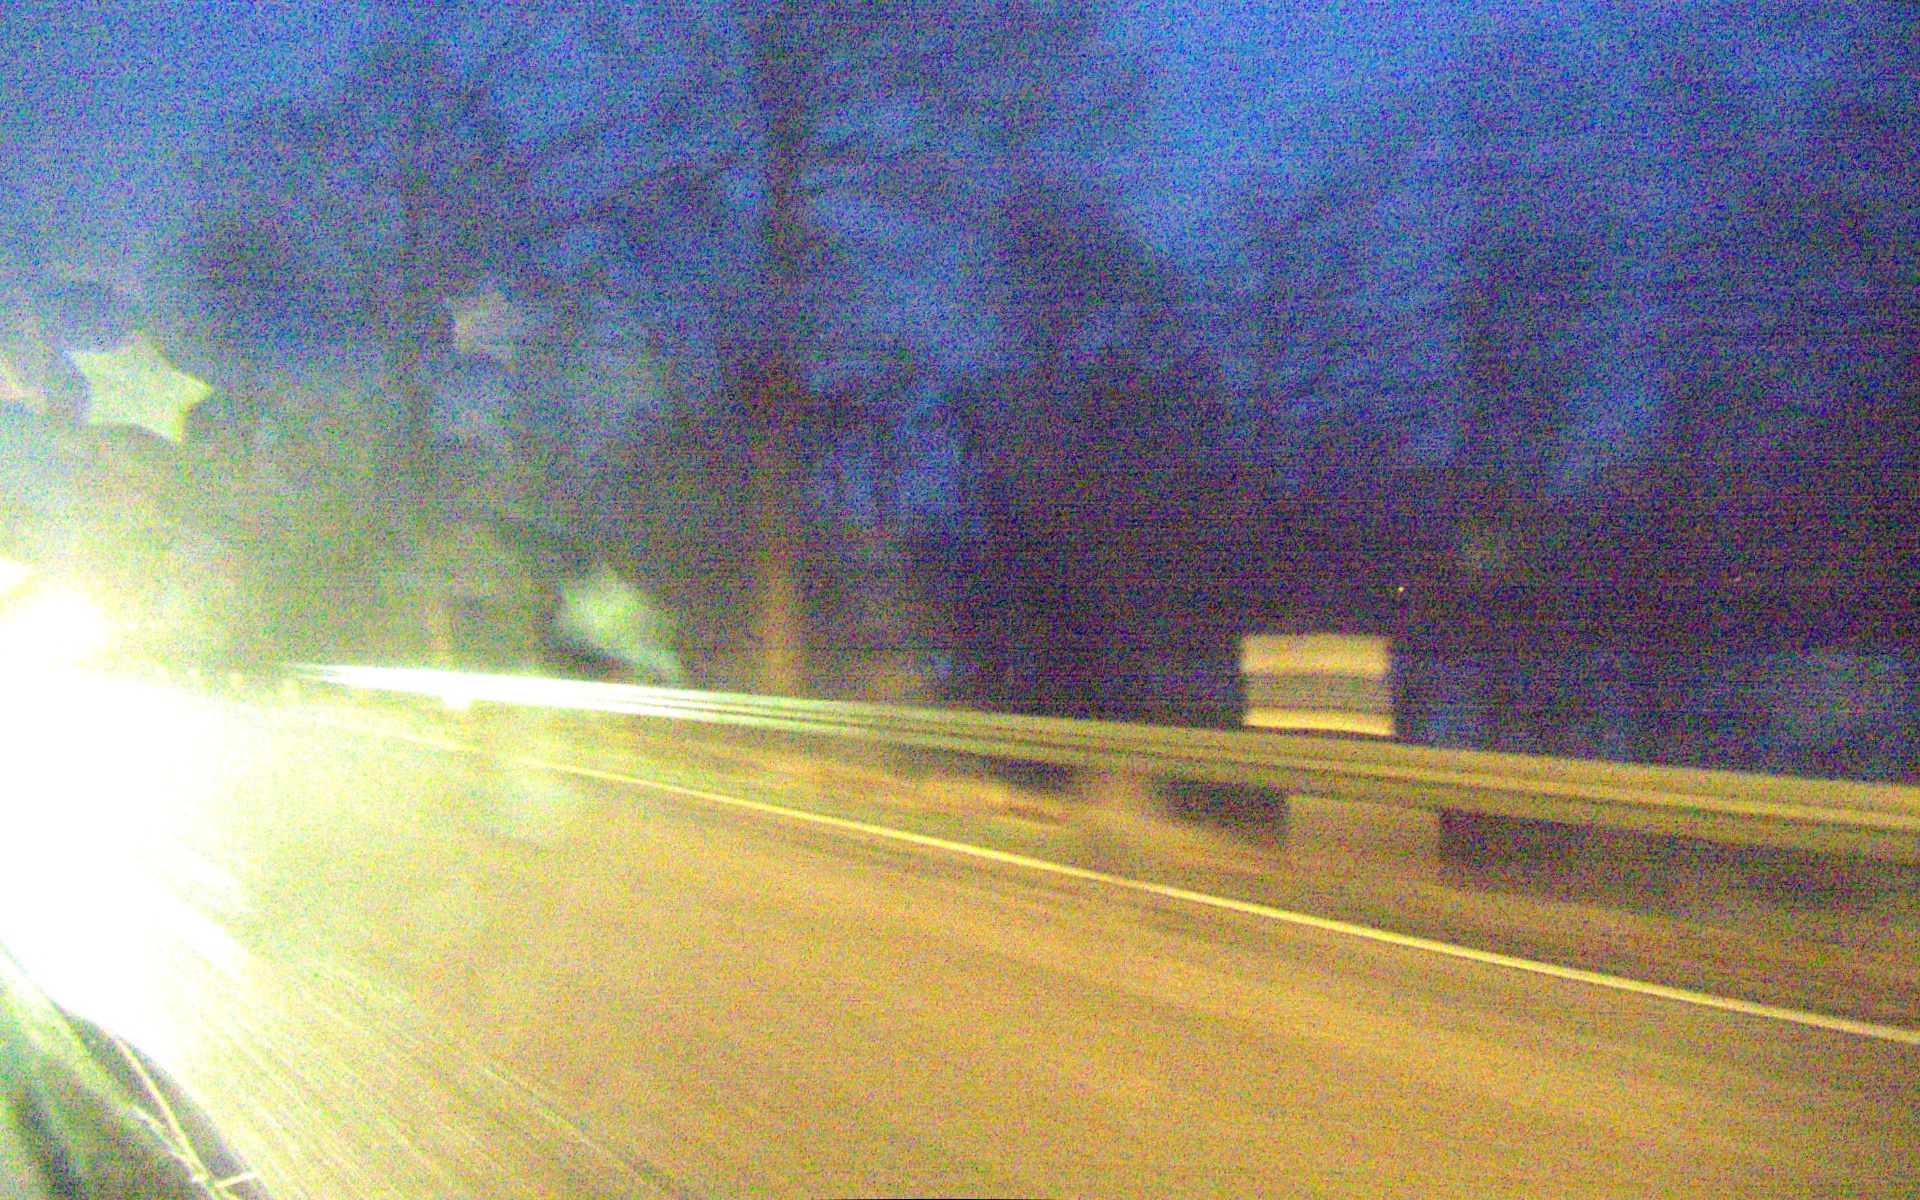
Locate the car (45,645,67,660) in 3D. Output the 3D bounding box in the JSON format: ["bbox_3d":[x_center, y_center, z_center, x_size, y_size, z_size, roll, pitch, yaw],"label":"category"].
[{"bbox_3d":[-100.344,5.842,112.354,1.575,1.522,3.606,3,-5,-40],"label":"car"}]

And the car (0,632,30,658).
[{"bbox_3d":[-58.649,2.817,62.581,1.545,1.537,3.489,4,-5,-43],"label":"car"}]
